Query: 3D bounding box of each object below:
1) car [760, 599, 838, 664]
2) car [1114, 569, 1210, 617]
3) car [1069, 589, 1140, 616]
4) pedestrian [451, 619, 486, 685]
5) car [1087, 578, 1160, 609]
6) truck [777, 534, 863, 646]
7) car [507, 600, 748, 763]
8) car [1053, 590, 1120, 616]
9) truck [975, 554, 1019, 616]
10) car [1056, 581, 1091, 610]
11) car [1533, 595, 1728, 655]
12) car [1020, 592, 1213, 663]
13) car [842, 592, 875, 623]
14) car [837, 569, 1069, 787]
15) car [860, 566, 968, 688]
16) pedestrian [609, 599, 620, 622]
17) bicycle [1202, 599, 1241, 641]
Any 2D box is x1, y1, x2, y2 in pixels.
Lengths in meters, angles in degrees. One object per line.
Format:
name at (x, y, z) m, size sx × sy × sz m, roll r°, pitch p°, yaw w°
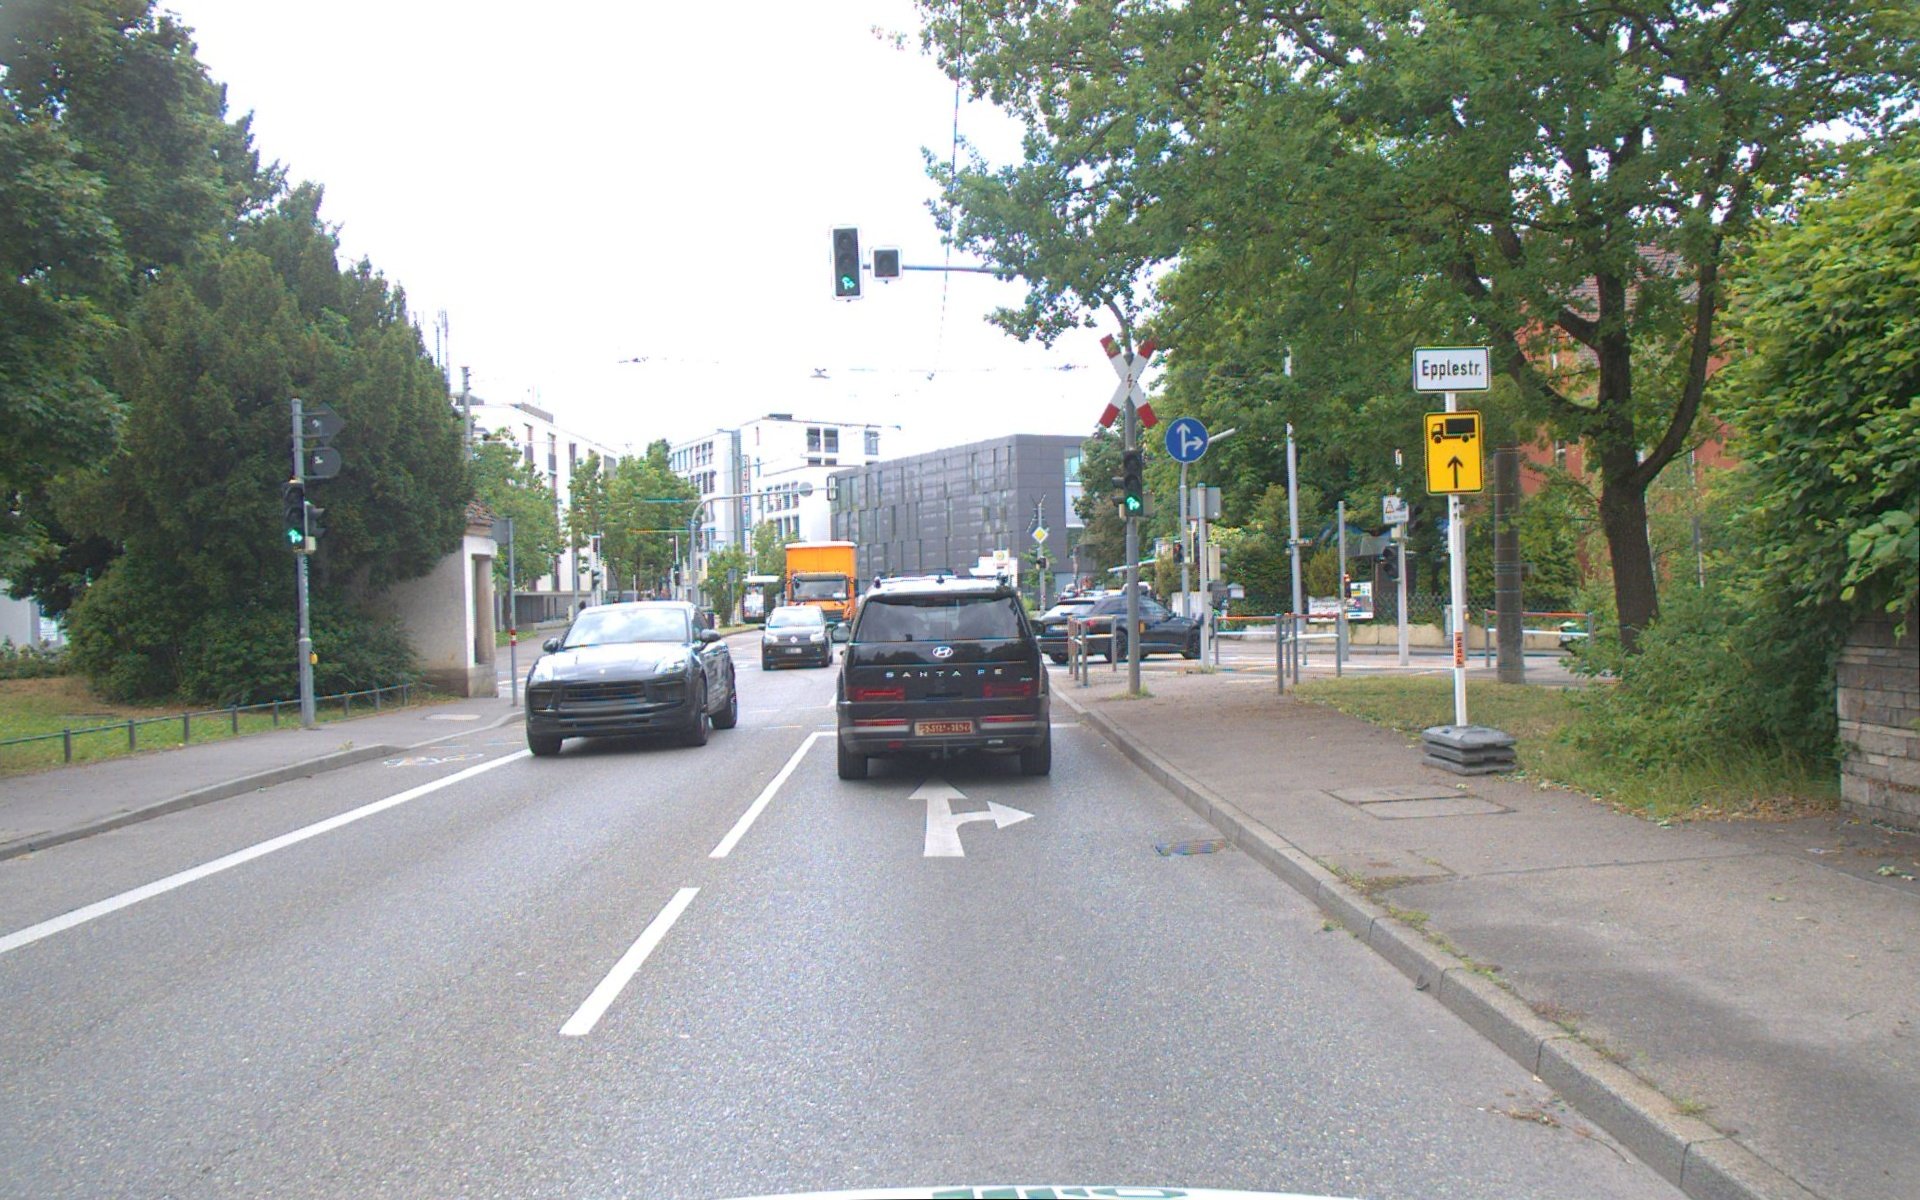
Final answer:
car at (-3.893, 0.730, 40.532) m, size 1.630 × 1.474 × 3.826 m, roll -1°, pitch 0°, yaw -2°
car at (8.260, -0.311, 67.279) m, size 1.814 × 1.779 × 4.678 m, roll -1°, pitch 1°, yaw 36°
car at (8.326, 0.145, 95.307) m, size 3.753 × 1.499 × 1.779 m, roll 1°, pitch -1°, yaw -32°
pedestrian at (-12.978, 1.363, 43.688) m, size 0.662 × 1.673 × 0.818 m, roll -3°, pitch 2°, yaw -7°
car at (8.854, -0.343, 89.472) m, size 3.598 × 1.460 × 1.576 m, roll -3°, pitch -1°, yaw -29°
truck at (-5.217, -0.364, 62.969) m, size 2.714 × 3.783 × 8.464 m, roll -4°, pitch 0°, yaw -3°
car at (-3.715, 0.841, 19.319) m, size 1.900 × 1.558 × 4.525 m, roll -4°, pitch 0°, yaw -1°
car at (7.702, 0.181, 100.692) m, size 3.745 × 1.499 × 1.783 m, roll 1°, pitch -1°, yaw -27°
truck at (2.216, -0.908, 101.536) m, size 2.520 × 3.586 × 7.810 m, roll -2°, pitch 0°, yaw 0°
car at (7.897, -0.318, 115.145) m, size 1.953 × 1.870 × 4.516 m, roll -3°, pitch 0°, yaw -1°
car at (17.615, 0.637, 43.519) m, size 4.424 × 1.489 × 1.994 m, roll -1°, pitch 0°, yaw -12°
car at (3.568, 0.571, 37.090) m, size 1.966 × 1.489 × 4.488 m, roll -1°, pitch 0°, yaw 44°
car at (-5.944, 0.436, 97.335) m, size 1.752 × 1.690 × 4.275 m, roll -2°, pitch 0°, yaw -1°
car at (-0.181, 0.616, 15.466) m, size 1.877 × 1.755 × 4.167 m, roll 0°, pitch 0°, yaw -4°
car at (-0.879, 0.443, 30.971) m, size 1.818 × 2.069 × 4.435 m, roll -2°, pitch 1°, yaw -2°
pedestrian at (-25.537, 0.787, 122.245) m, size 0.601 × 1.724 × 0.785 m, roll -1°, pitch -1°, yaw -2°
bicycle at (8.089, 0.605, 51.261) m, size 0.538 × 1.158 × 1.872 m, roll -1°, pitch 3°, yaw -13°
